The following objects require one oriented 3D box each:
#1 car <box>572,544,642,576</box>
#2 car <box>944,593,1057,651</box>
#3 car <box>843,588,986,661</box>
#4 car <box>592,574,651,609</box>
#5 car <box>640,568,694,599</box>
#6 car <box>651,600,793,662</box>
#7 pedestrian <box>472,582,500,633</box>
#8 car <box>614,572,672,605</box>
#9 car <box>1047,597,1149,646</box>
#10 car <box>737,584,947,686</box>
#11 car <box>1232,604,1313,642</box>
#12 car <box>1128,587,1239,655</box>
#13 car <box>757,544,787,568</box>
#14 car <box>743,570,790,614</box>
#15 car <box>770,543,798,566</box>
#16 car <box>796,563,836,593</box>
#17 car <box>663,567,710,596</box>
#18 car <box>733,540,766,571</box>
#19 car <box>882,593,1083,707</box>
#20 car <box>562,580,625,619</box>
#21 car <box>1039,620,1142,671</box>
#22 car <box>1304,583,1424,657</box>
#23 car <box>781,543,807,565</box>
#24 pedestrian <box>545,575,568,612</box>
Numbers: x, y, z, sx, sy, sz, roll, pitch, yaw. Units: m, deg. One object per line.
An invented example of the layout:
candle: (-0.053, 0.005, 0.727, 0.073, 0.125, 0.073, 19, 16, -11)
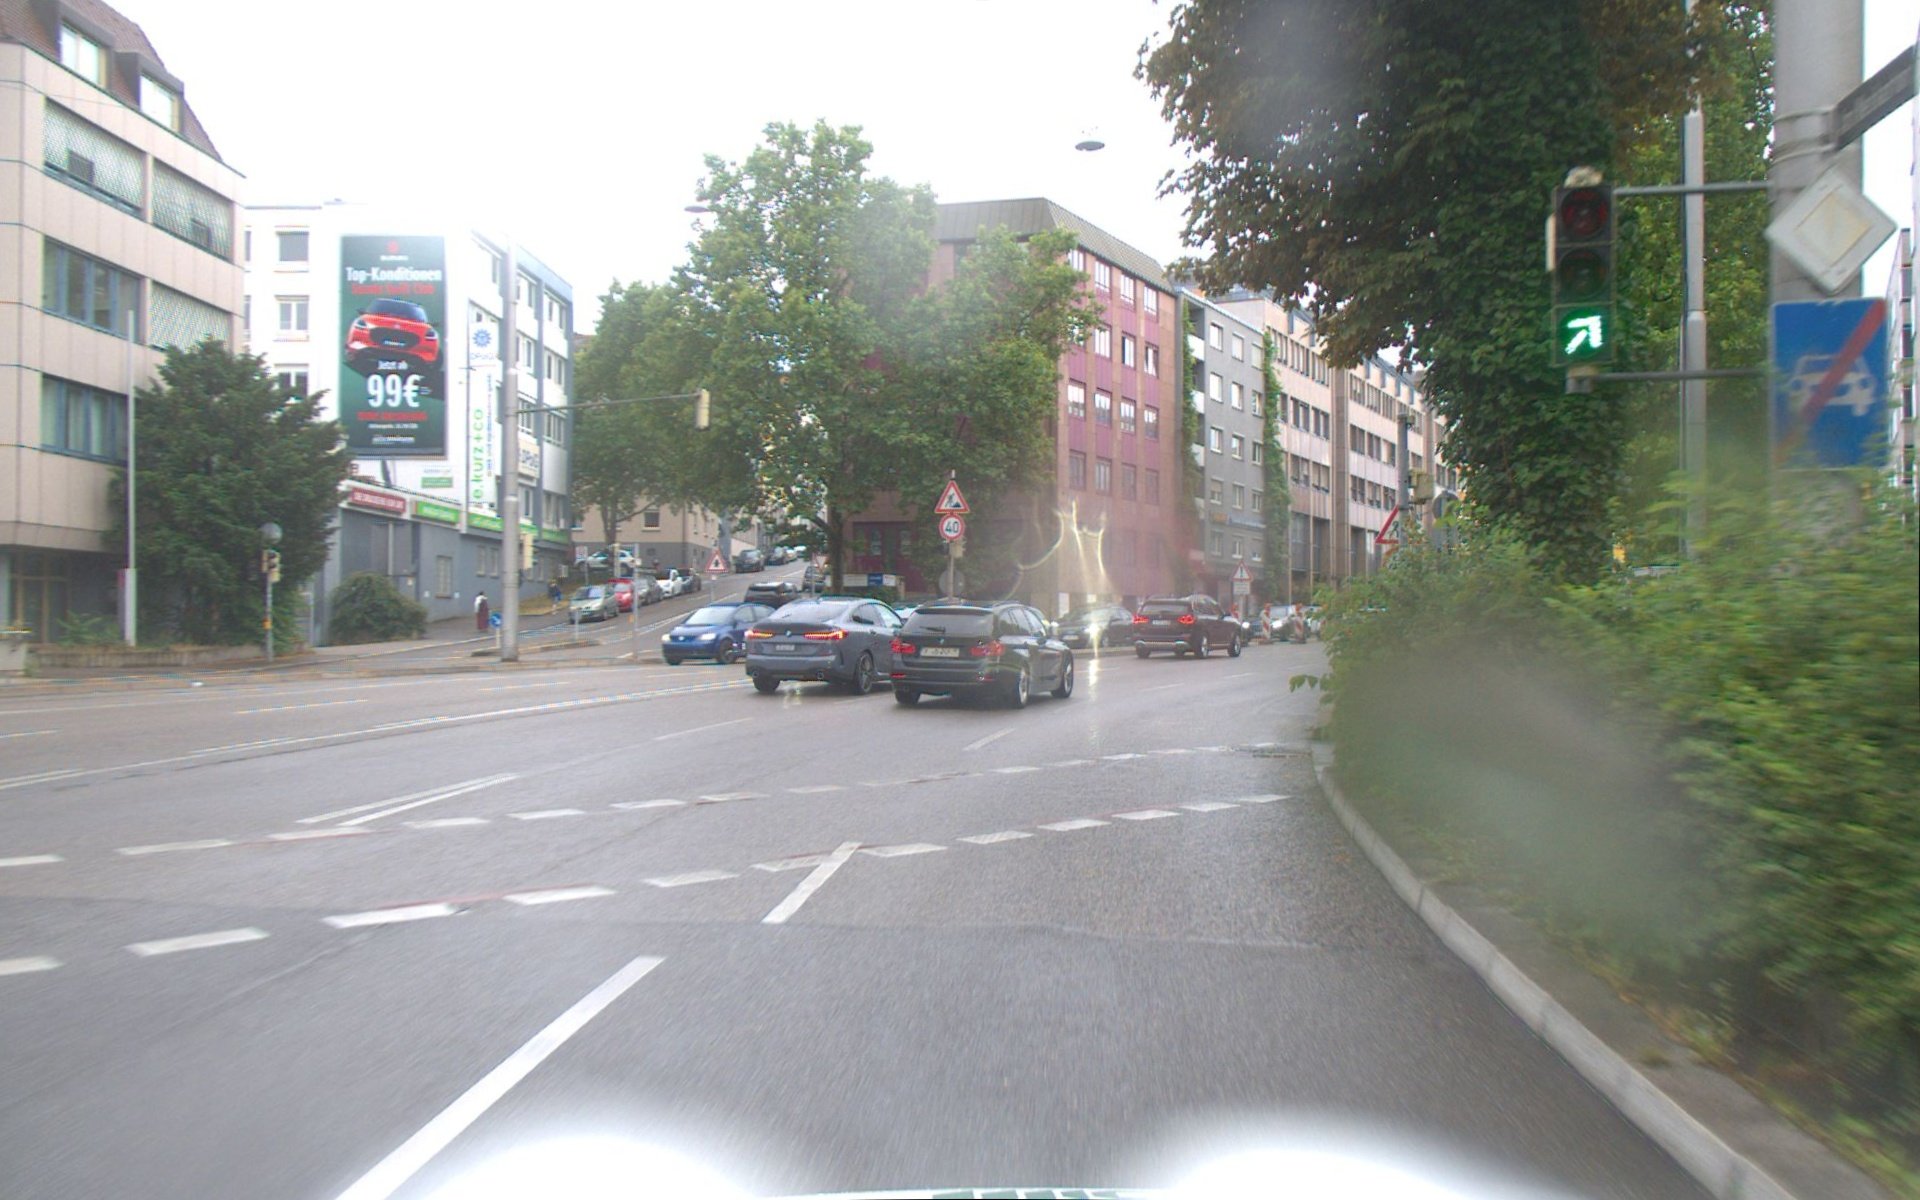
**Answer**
car: (-23.665, -2.659, 111.042, 4.329, 2.041, 1.999, -1, -1, -3)
car: (1.321, 0.681, 51.709, 1.732, 1.711, 4.586, -1, -1, 26)
car: (-1.040, 0.583, 40.644, 1.815, 1.651, 4.592, -2, -1, 22)
car: (-16.808, -0.443, 82.341, 1.794, 1.455, 4.074, -1, 4, 4)
car: (-16.222, -0.955, 91.734, 1.794, 1.455, 4.075, -1, 4, 6)
car: (-6.144, 0.806, 43.147, 1.727, 1.539, 4.119, -1, -1, 24)
pedestrian: (-19.269, 0.307, 67.237, 0.821, 2.049, 0.981, -1, -1, 1)
car: (-16.599, -0.636, 86.827, 1.794, 1.455, 4.075, -1, 4, 6)
car: (4.287, 0.669, 50.942, 1.732, 1.441, 4.078, -1, -1, 26)
car: (-1.741, 0.546, 25.960, 1.753, 1.451, 4.386, -1, -1, 18)
car: (12.658, 0.905, 66.824, 1.954, 1.463, 4.933, -2, -1, 26)
car: (6.028, 0.569, 44.274, 1.862, 1.723, 3.997, -1, -1, 24)
car: (-15.398, -3.606, 135.631, 1.953, 1.874, 4.001, -1, 3, 0)
car: (-8.761, -0.376, 75.095, 1.893, 1.900, 3.997, 1, 1, -4)
car: (-15.079, -3.904, 142.050, 1.953, 1.874, 4.001, -1, 3, 0)
car: (-8.565, -1.295, 98.721, 1.890, 1.704, 4.001, -1, 0, 2)
car: (-15.916, -1.095, 96.417, 1.794, 1.455, 4.074, -1, 3, 4)
car: (-15.505, -3.252, 121.914, 1.953, 2.049, 3.999, -1, -1, 0)
car: (0.448, 0.652, 23.616, 1.753, 1.451, 4.616, 0, 0, 15)
car: (-16.931, -0.036, 76.595, 1.795, 1.488, 4.180, -1, 4, 2)
car: (4.698, 1.588, 58.763, 1.954, 1.707, 4.933, -2, -1, 26)
car: (10.014, 0.492, 40.836, 1.864, 1.723, 3.993, -1, -1, 29)
car: (-15.165, -4.222, 151.435, 1.953, 1.874, 4.001, -1, 3, 0)
pedestrian: (-19.389, -0.307, 79.456, 0.821, 1.748, 0.981, -1, -1, 1)
